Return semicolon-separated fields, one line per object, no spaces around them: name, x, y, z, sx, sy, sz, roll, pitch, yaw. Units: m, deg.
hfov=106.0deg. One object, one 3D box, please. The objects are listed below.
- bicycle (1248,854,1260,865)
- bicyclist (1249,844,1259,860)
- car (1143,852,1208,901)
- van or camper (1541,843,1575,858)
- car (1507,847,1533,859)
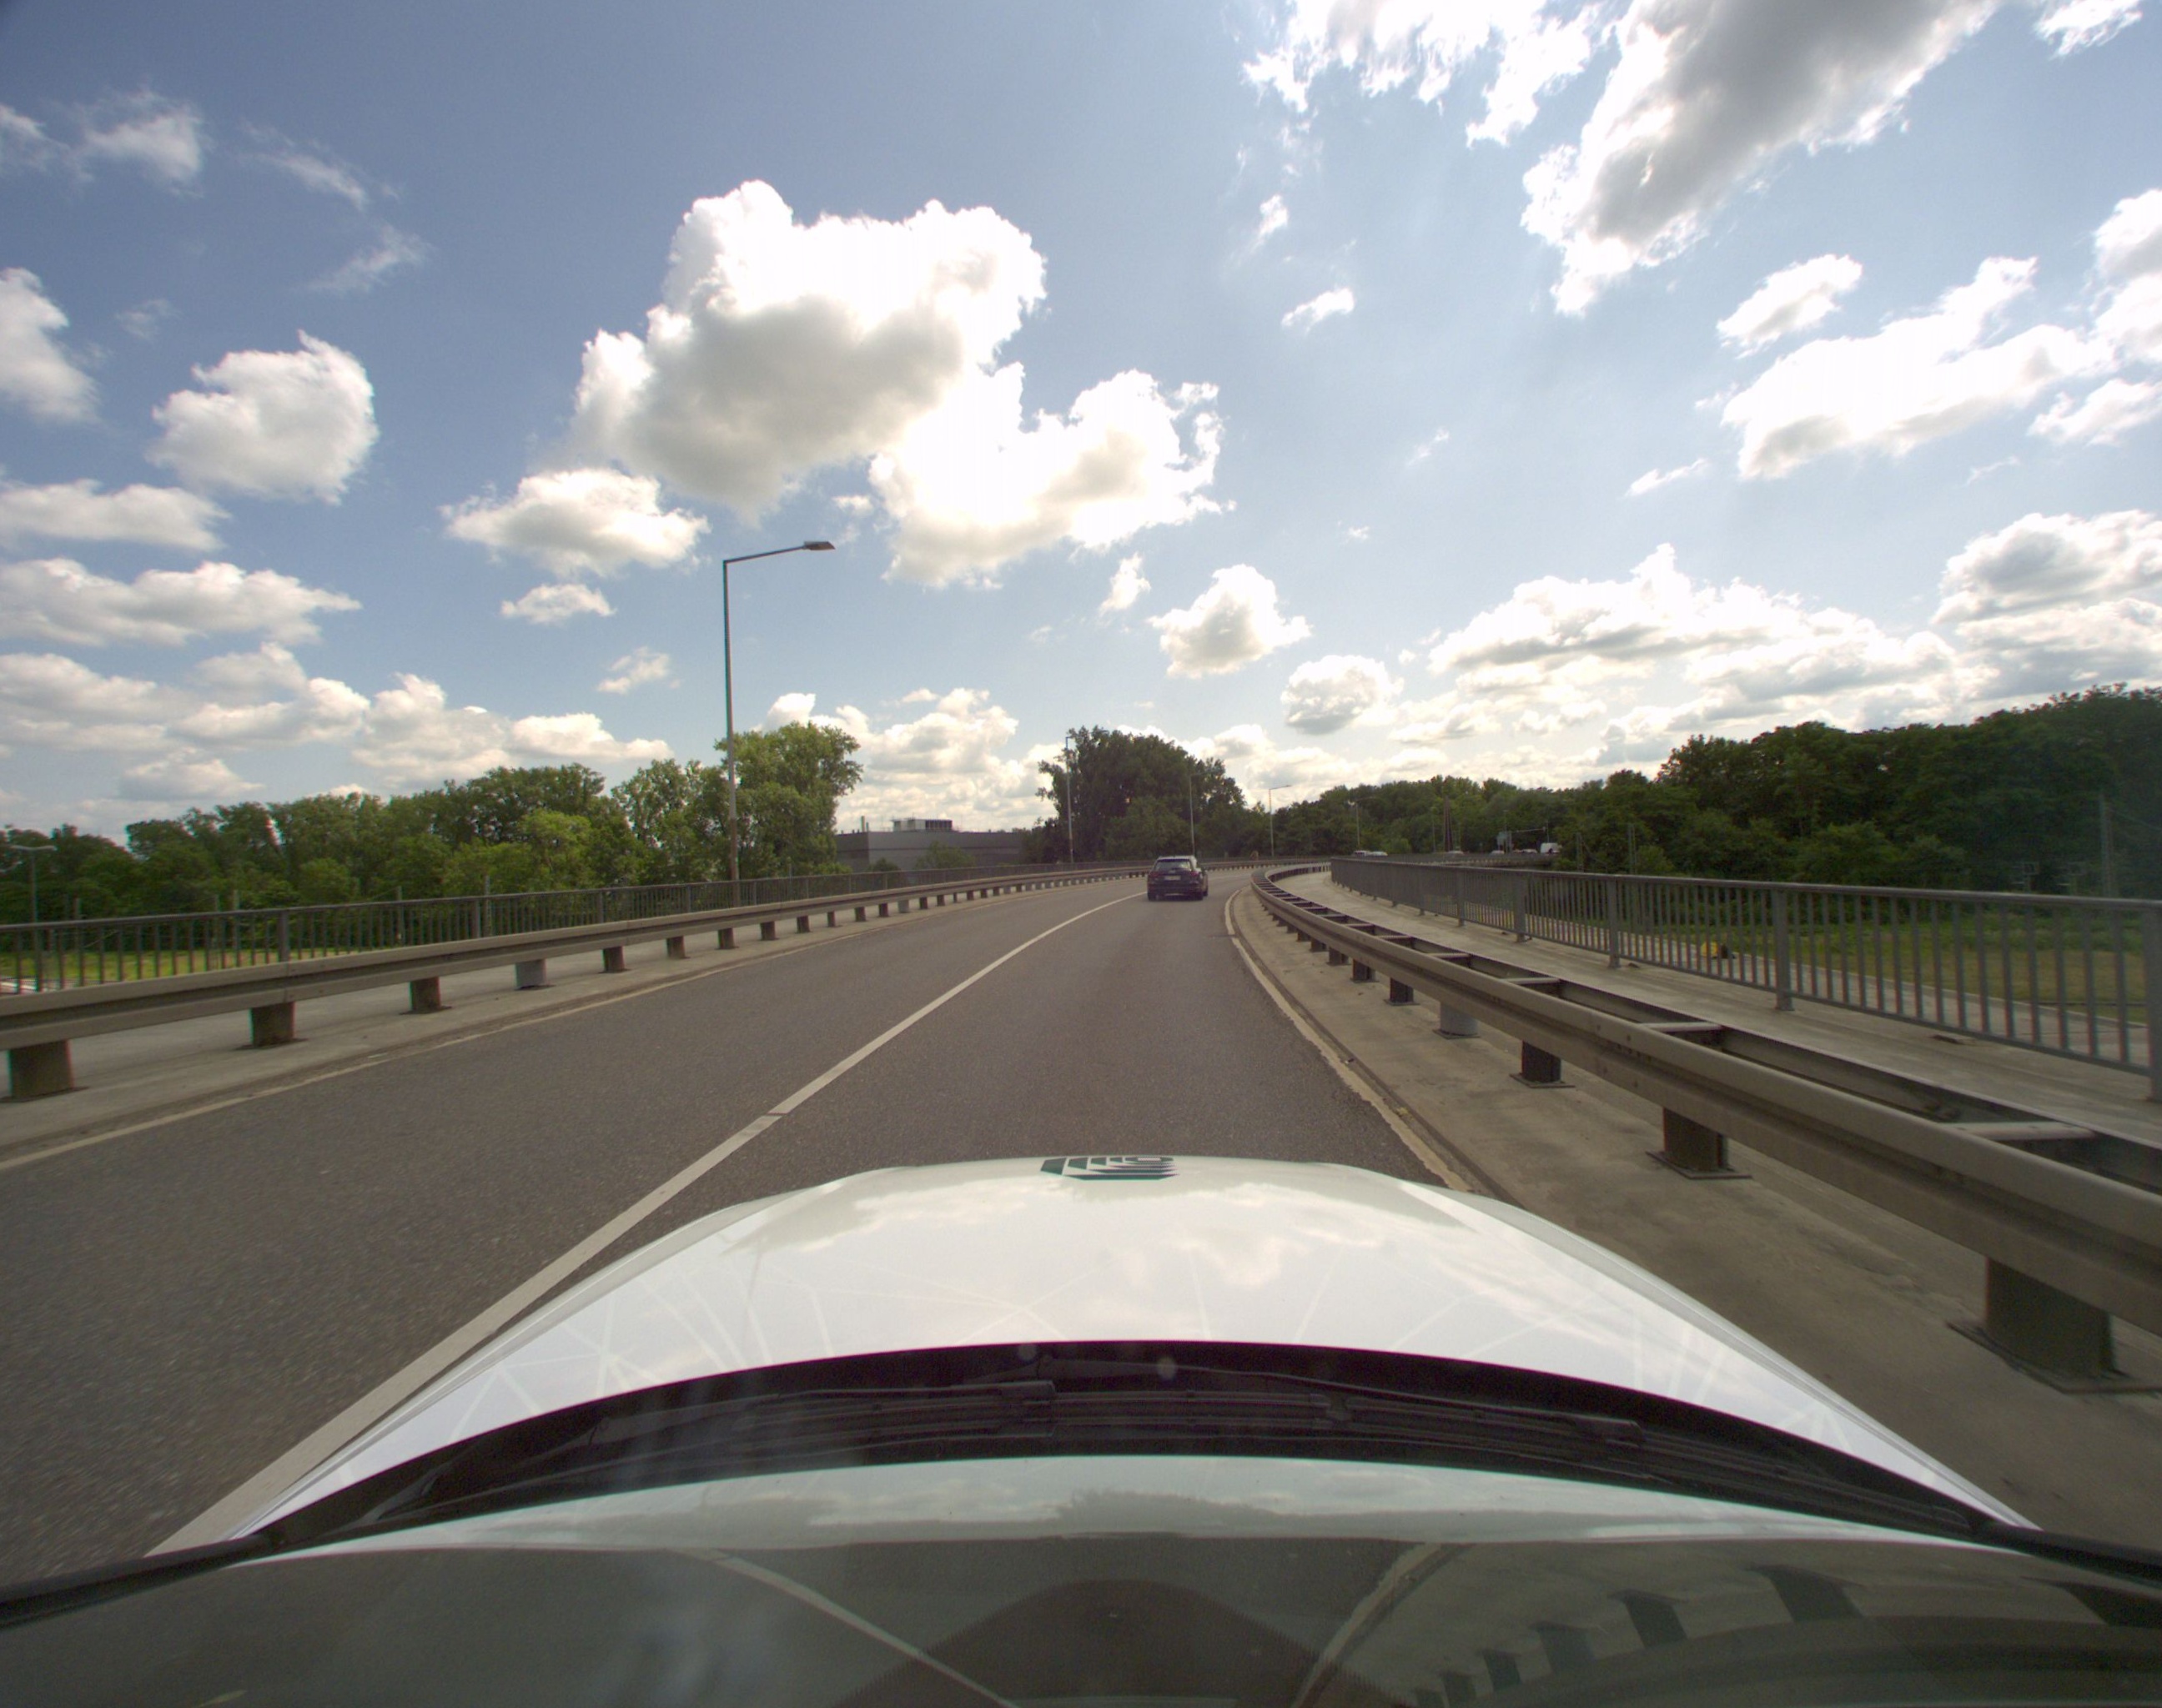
bicycle;17.693;0.571;83.225;0.762;1.095;2.127;-1;-1;24
bicyclist;17.728;-0.230;83.362;0.760;1.602;0.953;-1;-1;23
car;3.258;0.708;27.451;1.816;1.492;4.220;0;0;11
van or camper;75.052;-0.608;128.036;5.255;2.340;2.259;0;1;-30
car;62.564;-0.140;115.977;3.871;1.651;1.721;-1;0;-35
